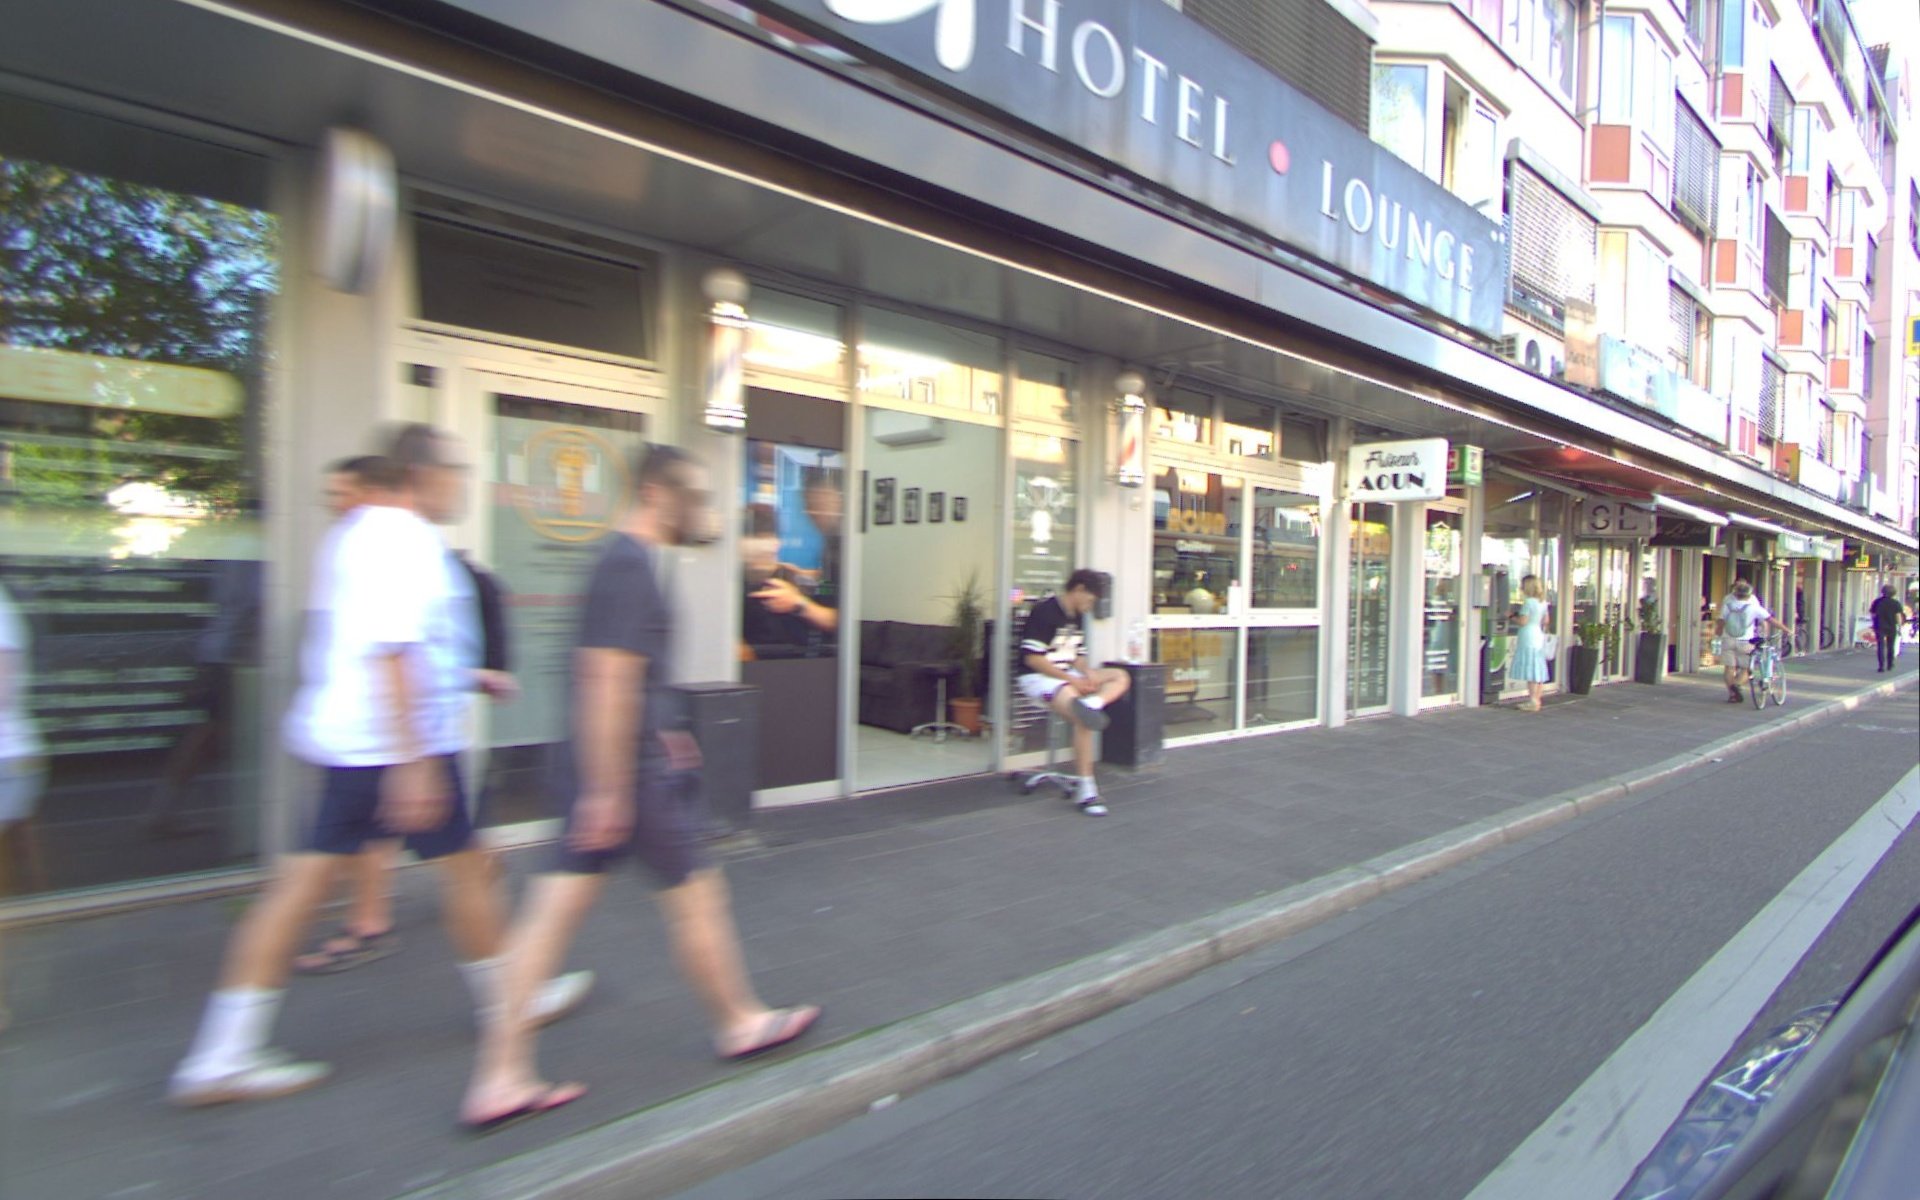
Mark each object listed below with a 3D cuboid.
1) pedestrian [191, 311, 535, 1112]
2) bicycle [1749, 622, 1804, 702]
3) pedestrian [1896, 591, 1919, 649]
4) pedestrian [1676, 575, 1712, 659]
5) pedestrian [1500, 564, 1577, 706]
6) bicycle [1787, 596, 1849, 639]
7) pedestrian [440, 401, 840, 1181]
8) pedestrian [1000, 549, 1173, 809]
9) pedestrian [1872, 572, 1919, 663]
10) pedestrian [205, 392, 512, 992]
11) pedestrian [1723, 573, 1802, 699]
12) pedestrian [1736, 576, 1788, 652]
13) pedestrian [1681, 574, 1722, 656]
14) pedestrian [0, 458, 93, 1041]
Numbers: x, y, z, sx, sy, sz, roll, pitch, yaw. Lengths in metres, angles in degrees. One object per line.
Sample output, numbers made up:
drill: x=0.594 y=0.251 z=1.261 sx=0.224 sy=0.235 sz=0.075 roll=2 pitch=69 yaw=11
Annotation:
pedestrian: x=-1.632 y=0.248 z=2.817 sx=0.694 sy=1.842 sz=0.765 roll=1 pitch=3 yaw=-30
bicycle: x=11.169 y=0.821 z=13.828 sx=1.730 sy=1.002 sz=0.303 roll=0 pitch=2 yaw=-42
pedestrian: x=26.052 y=0.539 z=27.571 sx=0.776 sy=1.539 sz=0.666 roll=1 pitch=3 yaw=-43
pedestrian: x=14.493 y=0.320 z=19.980 sx=0.520 sy=1.623 sz=0.456 roll=1 pitch=0 yaw=-41
pedestrian: x=6.832 y=0.396 z=11.959 sx=0.544 sy=1.610 sz=0.601 roll=1 pitch=2 yaw=-41
bicycle: x=25.906 y=0.518 z=30.586 sx=0.472 sy=1.215 sz=1.483 roll=1 pitch=1 yaw=-5
pedestrian: x=-0.878 y=0.412 z=2.764 sx=0.796 sy=1.749 sz=0.668 roll=0 pitch=4 yaw=-42
pedestrian: x=0.788 y=0.447 z=6.373 sx=0.694 sy=1.490 sz=0.740 roll=0 pitch=4 yaw=-40
pedestrian: x=20.266 y=0.365 z=21.818 sx=0.974 sy=1.884 sz=0.676 roll=1 pitch=3 yaw=-40
pedestrian: x=-2.083 y=0.264 z=3.502 sx=0.800 sy=1.749 sz=0.745 roll=0 pitch=-1 yaw=-41
pedestrian: x=11.067 y=0.481 z=13.961 sx=0.693 sy=1.650 sz=0.664 roll=1 pitch=3 yaw=-42
pedestrian: x=18.093 y=0.297 z=22.838 sx=0.627 sy=1.656 sz=0.728 roll=1 pitch=3 yaw=-40
pedestrian: x=15.374 y=0.302 z=20.983 sx=0.512 sy=1.653 sz=0.518 roll=1 pitch=0 yaw=-36
pedestrian: x=-2.768 y=0.368 z=2.725 sx=0.643 sy=1.501 sz=0.637 roll=0 pitch=4 yaw=-42
